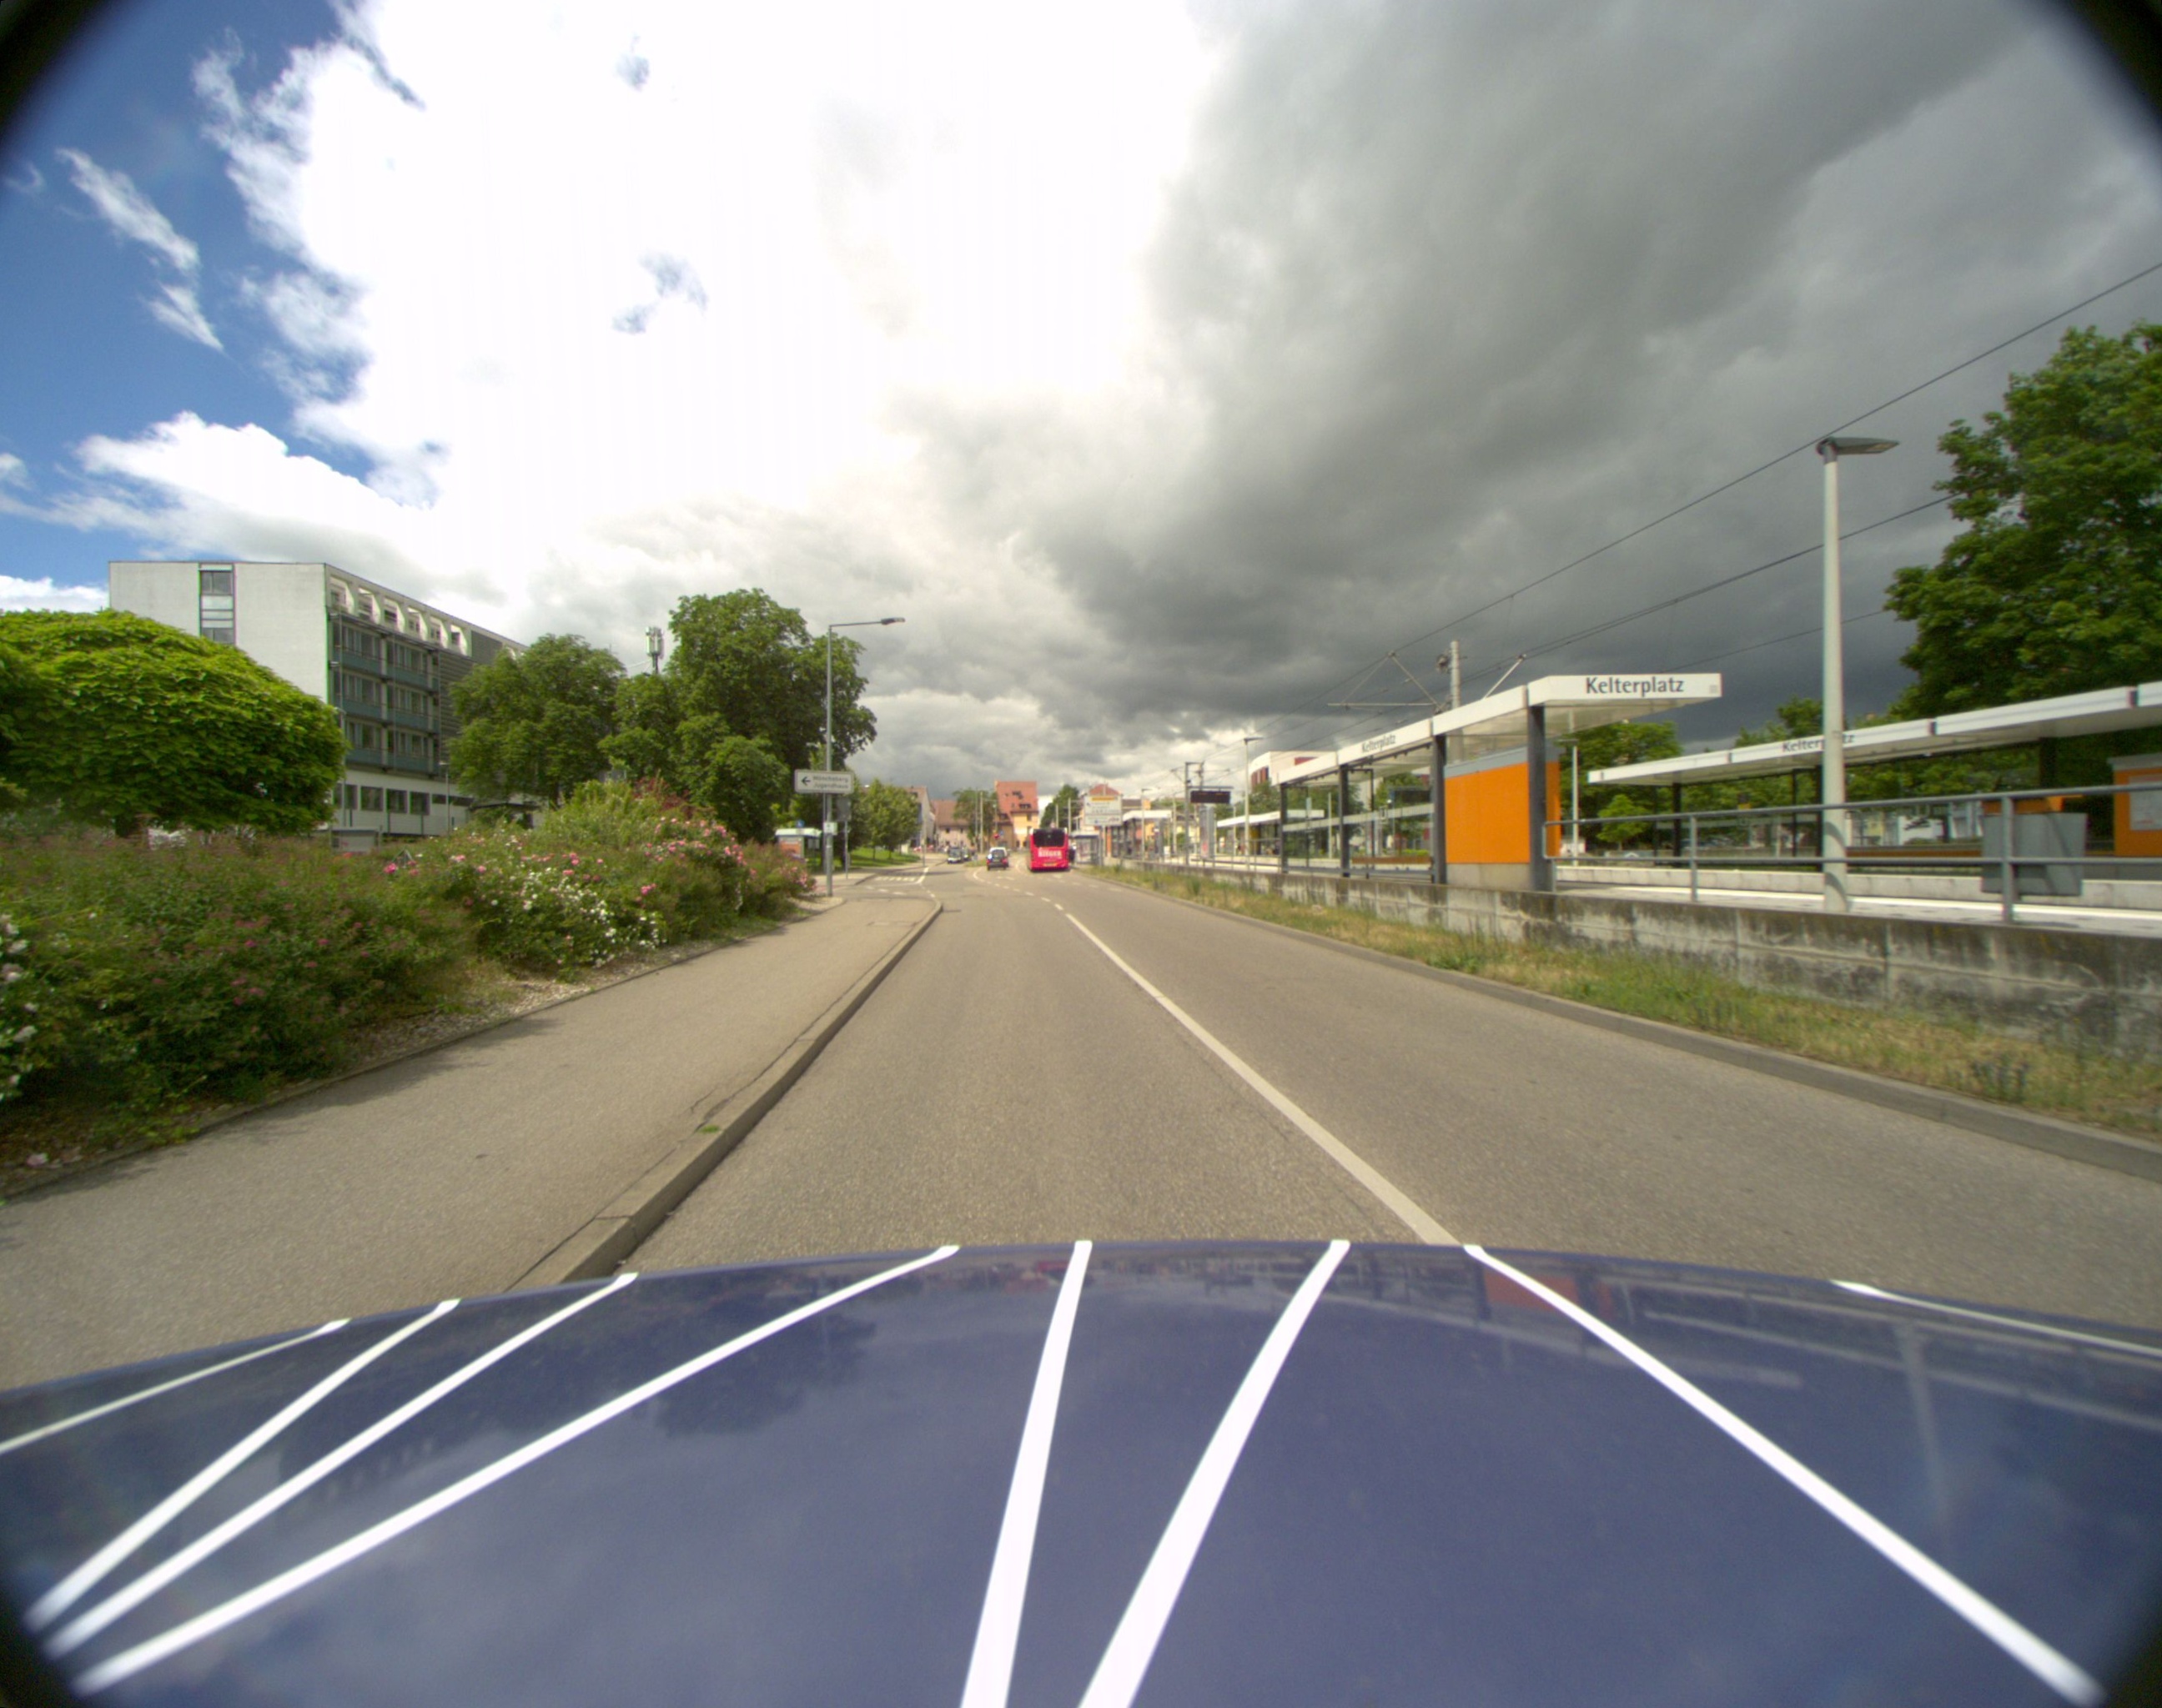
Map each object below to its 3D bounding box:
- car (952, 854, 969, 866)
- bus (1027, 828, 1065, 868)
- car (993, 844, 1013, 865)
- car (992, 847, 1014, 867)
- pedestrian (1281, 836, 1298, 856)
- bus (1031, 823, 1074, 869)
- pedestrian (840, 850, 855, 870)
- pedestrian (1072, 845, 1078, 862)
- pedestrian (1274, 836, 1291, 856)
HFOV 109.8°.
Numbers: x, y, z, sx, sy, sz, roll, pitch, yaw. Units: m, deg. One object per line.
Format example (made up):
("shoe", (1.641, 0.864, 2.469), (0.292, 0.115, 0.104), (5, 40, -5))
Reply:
("car", (-14.543, 0.720, 91.819), (1.883, 1.420, 3.998), (-1, -1, -6))
("bus", (-3.125, -0.483, 64.515), (2.734, 3.091, 9.698), (0, 0, -6))
("car", (-7.154, 0.063, 69.282), (1.767, 1.652, 4.506), (0, -3, -7))
("car", (-6.358, 0.231, 62.250), (1.534, 1.542, 3.730), (-2, 1, -3))
("pedestrian", (13.597, -0.539, 49.604), (0.759, 1.285, 1.112), (0, 1, -4))
("bus", (-2.213, -0.482, 55.244), (2.734, 3.051, 8.960), (-1, 0, -5))
("pedestrian", (-16.900, 0.398, 55.059), (0.822, 1.417, 0.829), (0, 2, -5))
("pedestrian", (-0.505, -0.028, 62.708), (0.423, 1.395, 0.408), (-1, 0, 7))
("pedestrian", (13.478, -0.520, 50.811), (0.759, 1.285, 1.112), (0, 1, -4))
